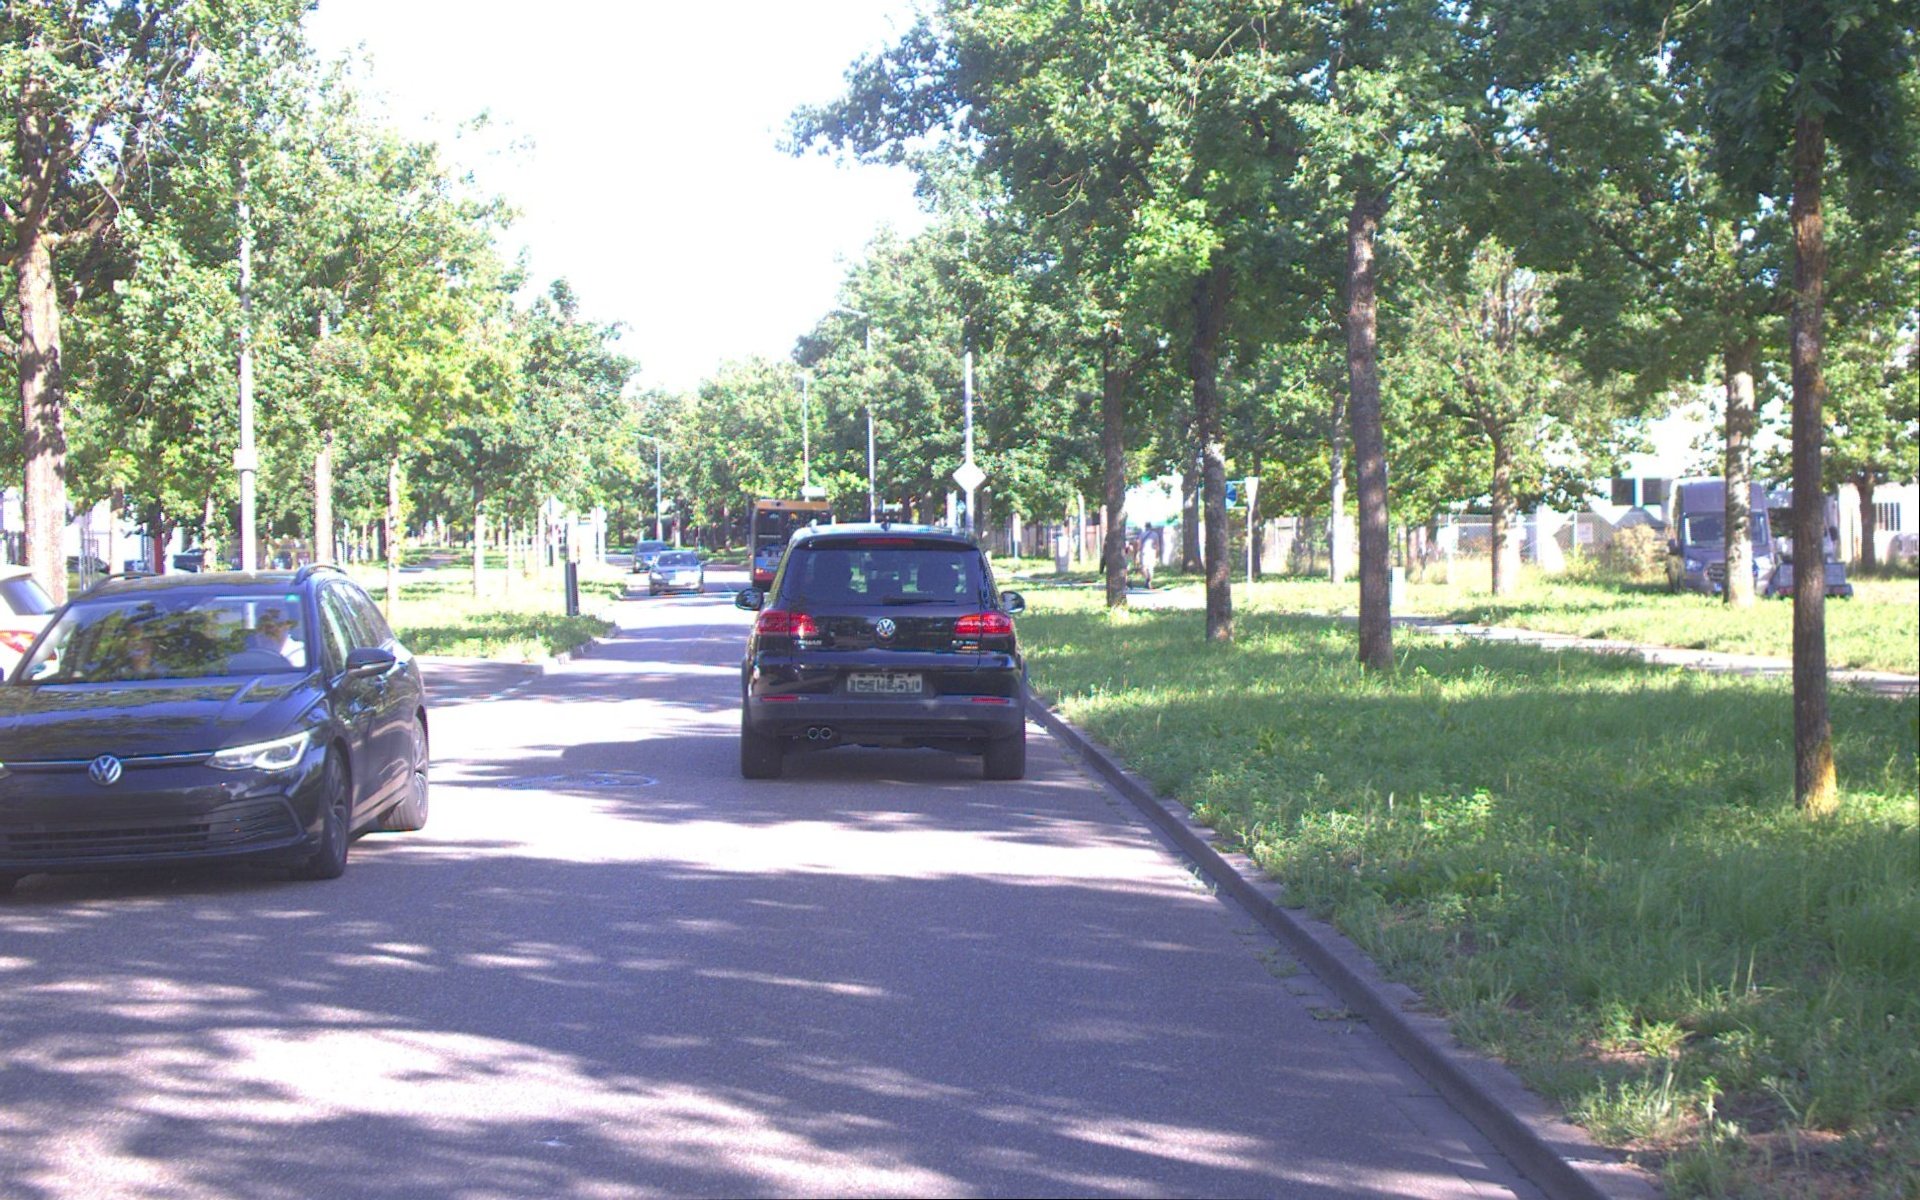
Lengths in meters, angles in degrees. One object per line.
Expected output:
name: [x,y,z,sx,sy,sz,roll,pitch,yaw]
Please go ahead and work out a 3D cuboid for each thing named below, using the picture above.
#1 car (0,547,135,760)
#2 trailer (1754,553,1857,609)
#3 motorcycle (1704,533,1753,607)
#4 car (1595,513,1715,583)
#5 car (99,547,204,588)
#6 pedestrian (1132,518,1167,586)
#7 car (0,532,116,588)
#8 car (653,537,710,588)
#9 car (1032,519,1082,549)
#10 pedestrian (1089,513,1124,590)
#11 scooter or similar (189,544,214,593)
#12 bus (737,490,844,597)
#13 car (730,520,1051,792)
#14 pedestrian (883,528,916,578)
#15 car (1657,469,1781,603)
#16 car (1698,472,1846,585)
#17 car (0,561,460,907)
car: [-8.891,0.370,26.571,4.625,1.553,2.192,0,1,-5]
trailer: [15.073,-0.327,61.382,1.579,0.865,2.053,-1,-3,8]
motorcycle: [14.137,-0.542,63.276,0.663,1.227,2.405,-1,-3,8]
car: [17.146,-1.295,84.963,2.005,1.658,3.597,-1,1,-4]
car: [-33.297,-1.362,141.615,3.744,1.612,1.963,-1,1,11]
pedestrian: [5.004,-1.265,90.836,0.725,1.749,0.868,-3,1,-4]
car: [-34.667,-1.518,130.281,1.999,2.007,4.846,0,2,44]
car: [-9.072,-1.239,112.119,1.765,1.523,4.496,-2,2,-4]
car: [5.908,-4.050,210.630,2.184,1.738,4.643,-1,1,-9]
pedestrian: [3.551,-1.173,83.235,0.725,1.806,0.868,-1,4,-4]
scooter or similar: [-20.085,-0.828,91.081,0.395,1.275,1.441,-1,1,-3]
bus: [-5.911,-1.975,118.052,2.764,3.444,11.214,-1,1,-7]
car: [-0.575,0.298,23.483,1.936,1.650,4.428,1,1,-4]
pedestrian: [-2.015,-1.559,114.291,1.019,1.646,1.100,-1,1,-4]
car: [16.209,-1.424,73.679,2.085,2.557,5.971,1,4,8]
car: [19.799,-1.744,84.080,2.160,2.634,4.852,-1,1,-4]
car: [-3.688,0.562,17.134,1.684,1.397,4.427,-2,1,0]
